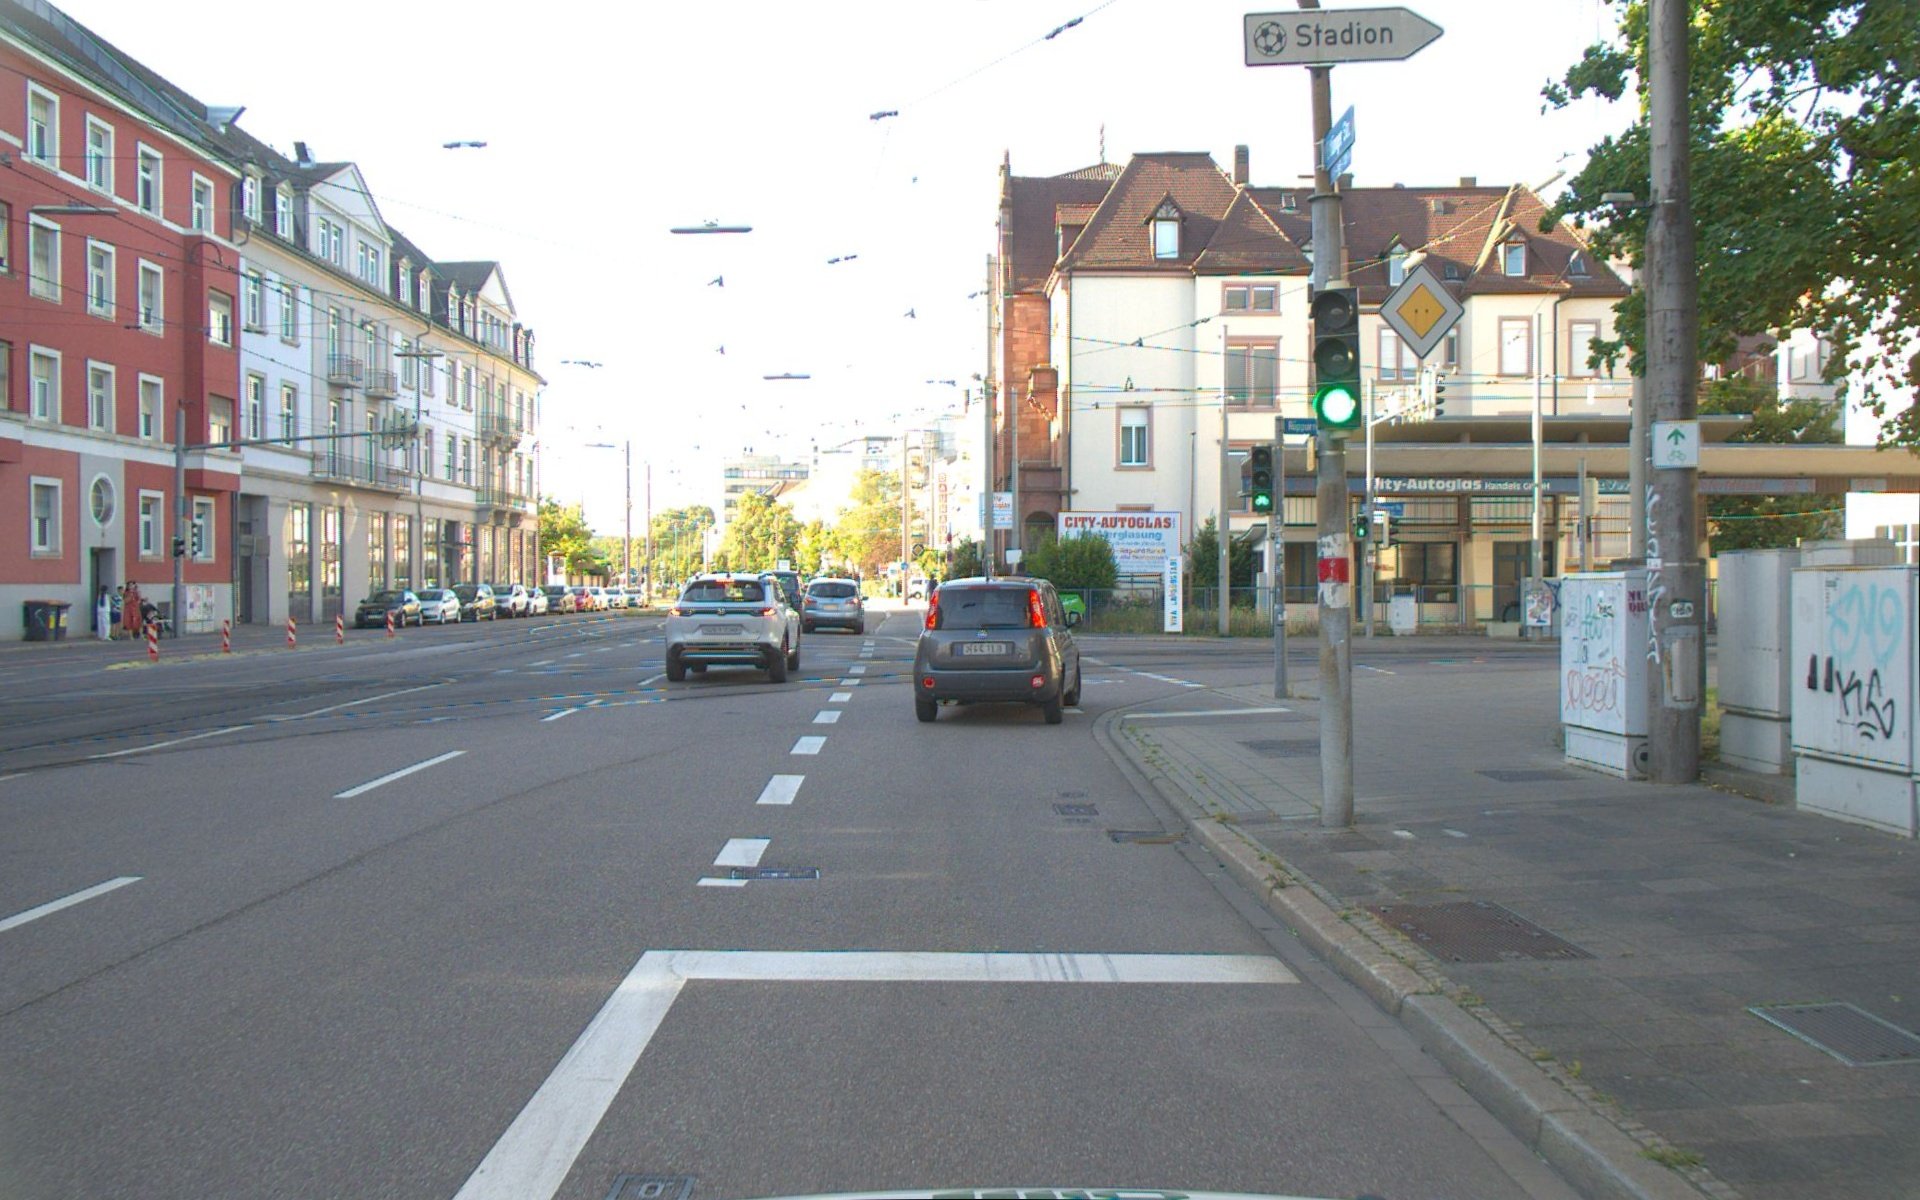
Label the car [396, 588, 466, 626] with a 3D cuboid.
[{"bbox_3d":[-21.940,0.267,68.756,1.684,1.477,3.999,0,1,-2],"label":"car"}]

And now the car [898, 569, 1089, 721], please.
[{"bbox_3d":[0.490,0.432,18.905,1.694,1.527,4.003,1,1,8],"label":"car"}]

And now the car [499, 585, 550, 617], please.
[{"bbox_3d":[-22.516,0.036,85.606,1.684,1.579,3.999,0,1,-2],"label":"car"}]

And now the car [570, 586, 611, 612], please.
[{"bbox_3d":[-22.641,-0.072,101.385,1.684,1.579,3.999,0,0,-1],"label":"car"}]

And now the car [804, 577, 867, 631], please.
[{"bbox_3d":[-3.795,0.107,50.988,1.778,1.610,3.998,0,0,-2],"label":"car"}]

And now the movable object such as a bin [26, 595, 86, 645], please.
[{"bbox_3d":[-23.771,0.516,43.507,0.852,1.271,1.234,0,0,5],"label":"movable object such as a bin"}]

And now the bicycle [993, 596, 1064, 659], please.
[{"bbox_3d":[1.244,0.485,30.402,0.758,1.105,1.862,0,0,-17],"label":"bicycle"}]

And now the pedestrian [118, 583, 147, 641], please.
[{"bbox_3d":[-23.748,0.340,47.450,0.647,1.661,0.786,0,0,-34],"label":"pedestrian"}]

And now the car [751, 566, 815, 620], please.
[{"bbox_3d":[-6.865,-0.277,64.584,2.128,2.044,4.806,0,0,-2],"label":"car"}]

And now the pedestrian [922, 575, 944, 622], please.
[{"bbox_3d":[-1.056,-0.066,65.055,0.857,1.856,1.184,0,0,-1],"label":"pedestrian"}]

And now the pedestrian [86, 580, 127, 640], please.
[{"bbox_3d":[-23.655,0.273,45.848,0.776,1.661,0.655,0,0,17],"label":"pedestrian"}]

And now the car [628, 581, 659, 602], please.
[{"bbox_3d":[-24.178,-0.680,126.479,1.684,1.579,3.999,0,1,-2],"label":"car"}]

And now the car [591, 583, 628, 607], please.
[{"bbox_3d":[-23.227,-0.325,109.634,1.684,1.579,3.999,0,0,-1],"label":"car"}]

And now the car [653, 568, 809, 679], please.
[{"bbox_3d":[-3.431,0.303,25.470,1.908,1.555,4.089,0,1,-2],"label":"car"}]

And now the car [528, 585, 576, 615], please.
[{"bbox_3d":[-22.349,-0.004,90.688,1.684,1.579,3.999,0,1,-2],"label":"car"}]

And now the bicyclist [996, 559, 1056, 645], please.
[{"bbox_3d":[1.214,0.027,30.452,0.821,1.552,0.989,0,0,-18],"label":"bicyclist"}]

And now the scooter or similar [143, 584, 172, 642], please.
[{"bbox_3d":[-23.233,0.372,47.891,0.647,1.661,0.786,0,0,-34],"label":"scooter or similar"}]

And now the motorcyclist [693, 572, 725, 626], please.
[{"bbox_3d":[-6.807,-0.025,44.888,0.762,1.448,0.891,0,0,-3],"label":"motorcyclist"}]

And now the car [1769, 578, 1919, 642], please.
[{"bbox_3d":[21.738,0.232,39.367,4.091,1.484,1.796,0,-1,-1],"label":"car"}]

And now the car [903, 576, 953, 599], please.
[{"bbox_3d":[-2.906,-1.088,149.719,4.182,2.049,1.995,0,0,-11],"label":"car"}]

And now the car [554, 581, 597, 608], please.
[{"bbox_3d":[-22.442,-0.332,96.645,1.684,1.579,3.999,0,1,-2],"label":"car"}]

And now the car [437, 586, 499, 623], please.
[{"bbox_3d":[-21.871,0.183,73.711,1.684,1.579,3.855,0,1,-2],"label":"car"}]

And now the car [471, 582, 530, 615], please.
[{"bbox_3d":[-22.311,-0.096,80.471,1.798,1.579,4.273,0,1,-2],"label":"car"}]

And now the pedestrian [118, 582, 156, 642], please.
[{"bbox_3d":[-23.217,0.336,46.663,0.823,1.661,0.784,0,0,-39],"label":"pedestrian"}]

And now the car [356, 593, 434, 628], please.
[{"bbox_3d":[-21.517,0.379,63.152,1.684,1.254,3.999,0,1,-2],"label":"car"}]

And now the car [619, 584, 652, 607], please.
[{"bbox_3d":[-23.624,-0.345,120.483,1.684,1.579,3.999,0,1,-2],"label":"car"}]
